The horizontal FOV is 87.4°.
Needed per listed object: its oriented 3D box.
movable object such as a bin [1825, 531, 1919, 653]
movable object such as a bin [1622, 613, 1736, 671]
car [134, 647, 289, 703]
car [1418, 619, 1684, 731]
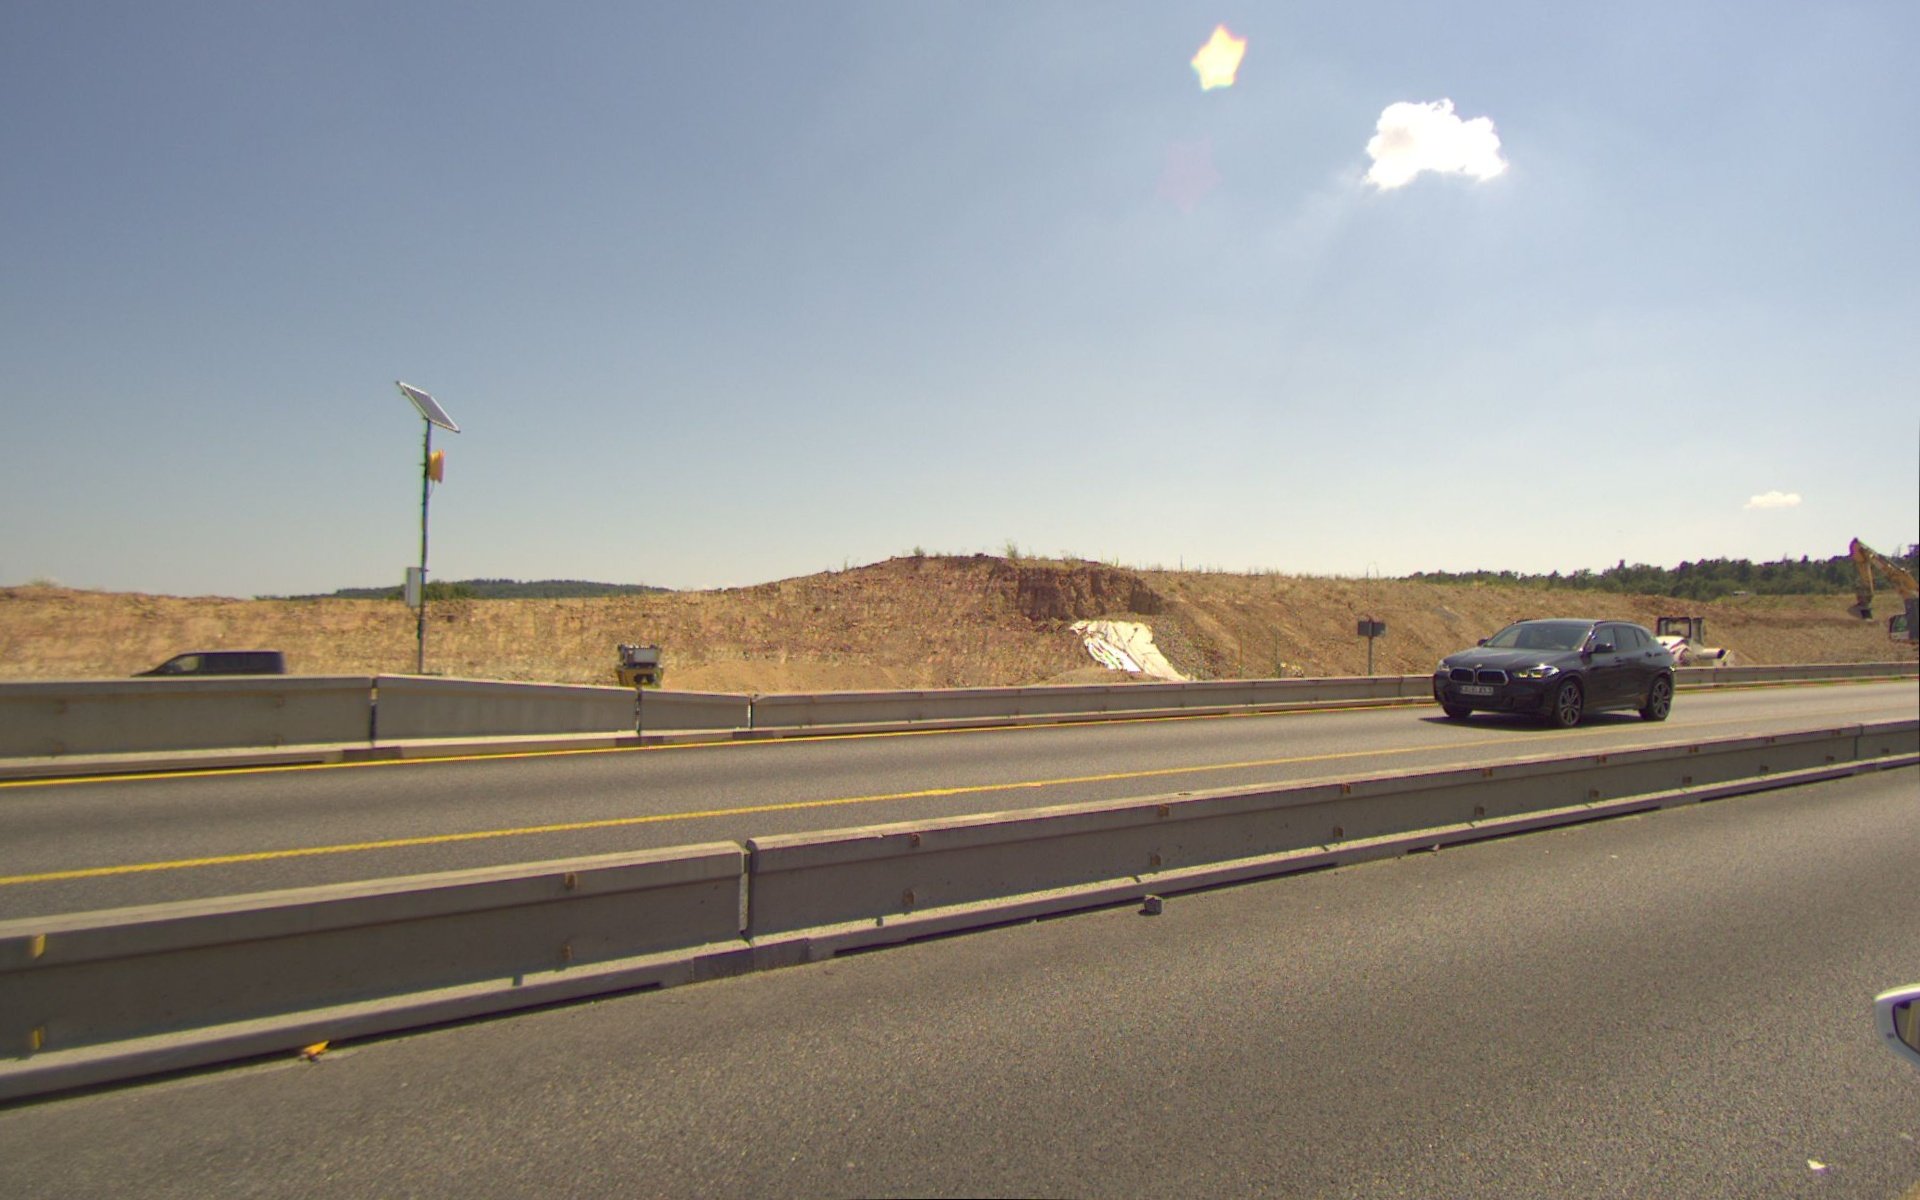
[{"bbox_3d":[62.614,-0.468,66.381,3.403,7.815,7.605,1,-1,-29],"label":"movable object such as a bin"},{"bbox_3d":[32.540,1.861,45.381,6.667,2.493,1.693,1,-1,-31],"label":"movable object such as a bin"},{"bbox_3d":[-28.487,2.820,38.436,4.511,1.950,1.984,1,-1,-31],"label":"car"},{"bbox_3d":[9.144,1.067,15.443,4.343,1.498,1.716,1,-1,-32],"label":"car"}]
